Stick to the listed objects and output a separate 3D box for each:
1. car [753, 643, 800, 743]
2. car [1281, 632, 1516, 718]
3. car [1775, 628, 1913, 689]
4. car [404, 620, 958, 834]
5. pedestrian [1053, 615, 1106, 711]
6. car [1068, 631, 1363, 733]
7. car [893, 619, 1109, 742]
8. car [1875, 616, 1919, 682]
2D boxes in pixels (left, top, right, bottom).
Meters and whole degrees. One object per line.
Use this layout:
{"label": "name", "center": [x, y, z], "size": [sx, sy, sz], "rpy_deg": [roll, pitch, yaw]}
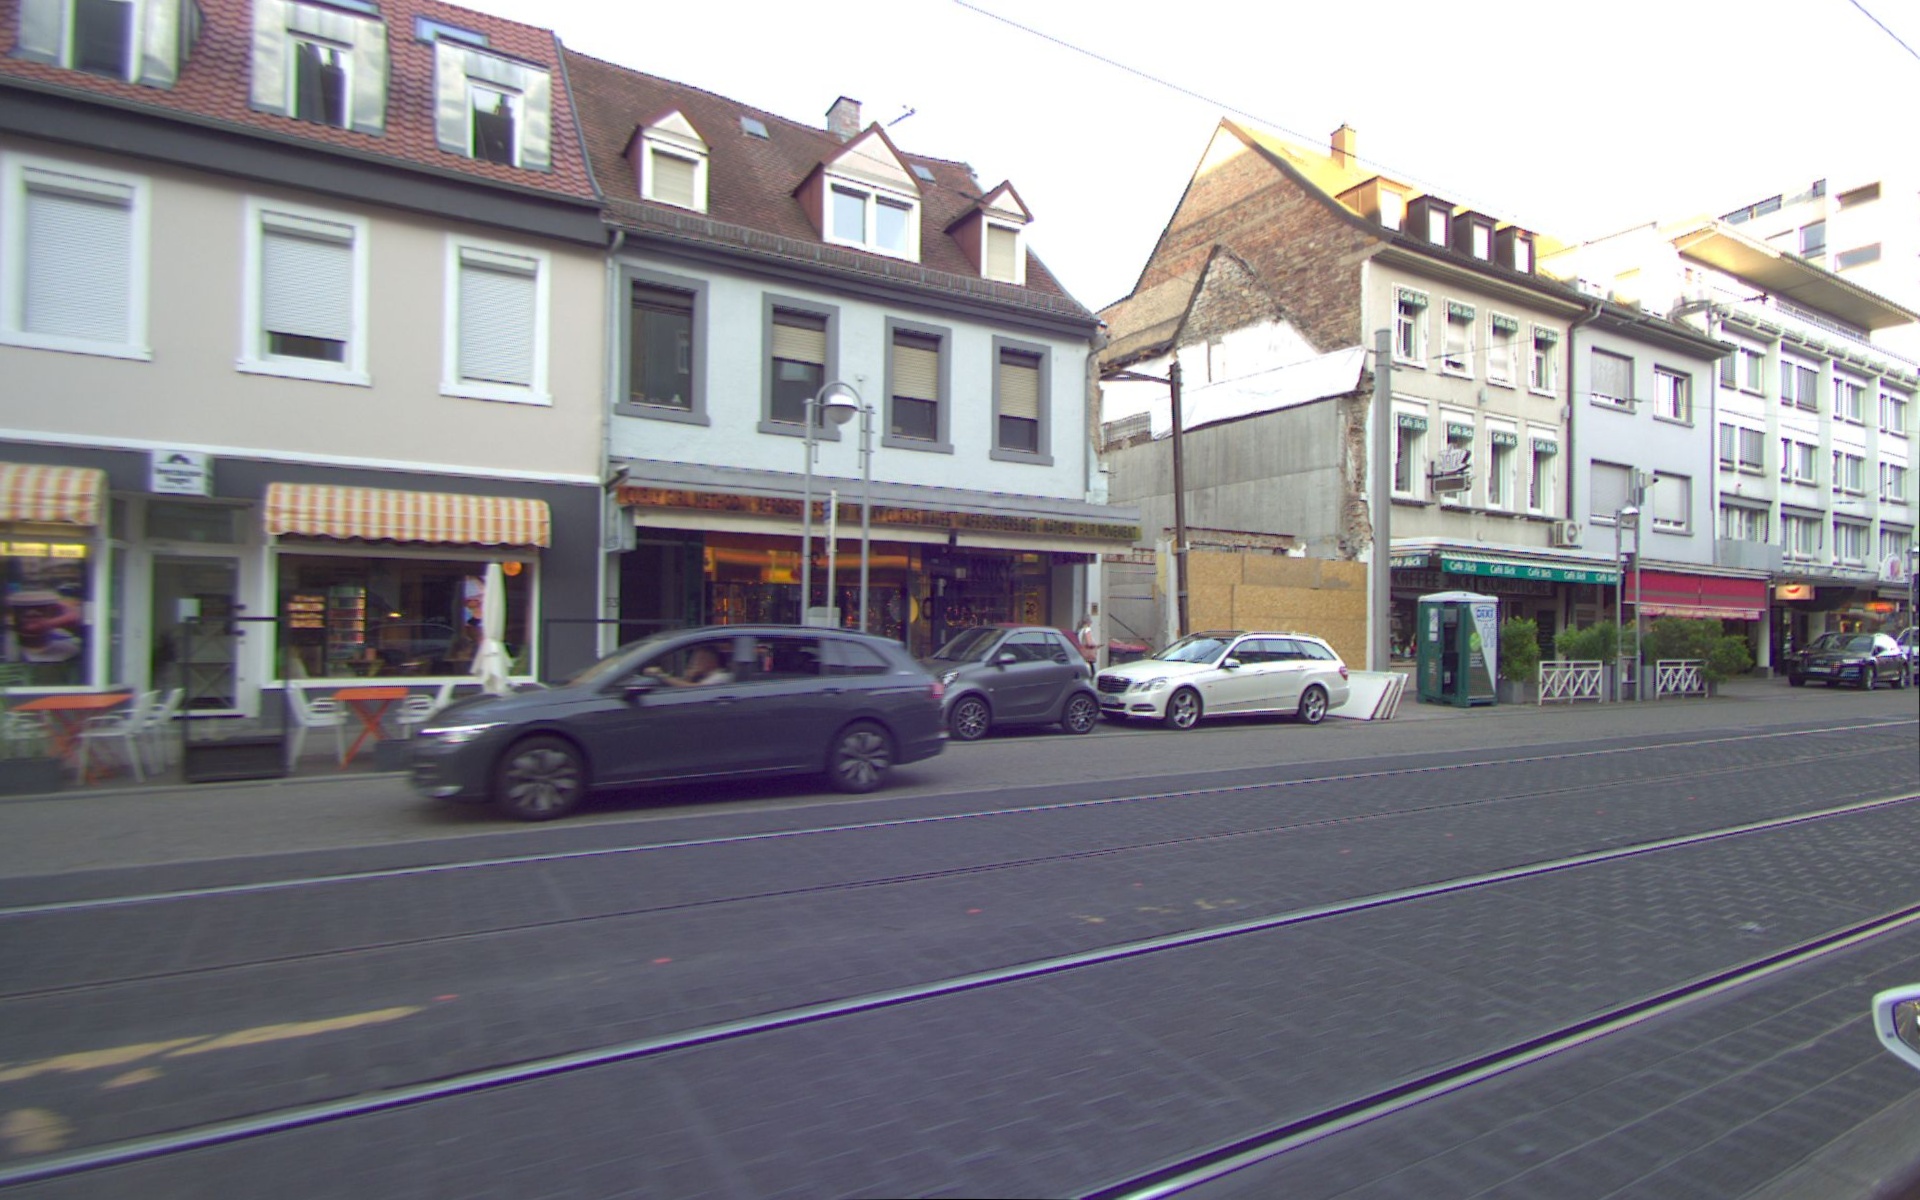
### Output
{"label": "car", "center": [-2.399, 1.193, 13.118], "size": [0.336, 1.251, 0.779], "rpy_deg": [1, -2, -32]}
{"label": "car", "center": [8.434, 1.368, 19.265], "size": [4.277, 1.472, 1.985], "rpy_deg": [1, -2, -29]}
{"label": "car", "center": [26.903, 1.734, 30.539], "size": [4.412, 1.700, 1.851], "rpy_deg": [1, 0, -30]}
{"label": "car", "center": [-2.333, 0.958, 8.816], "size": [4.413, 1.472, 1.684], "rpy_deg": [1, -3, -31]}
{"label": "pedestrian", "center": [2.149, 1.118, 18.073], "size": [0.686, 1.666, 0.659], "rpy_deg": [1, -1, -30]}
{"label": "car", "center": [4.319, 1.288, 16.813], "size": [4.764, 1.472, 1.985], "rpy_deg": [2, -2, -29]}
{"label": "car", "center": [0.598, 1.092, 14.398], "size": [2.764, 1.598, 1.469], "rpy_deg": [2, -2, -32]}
{"label": "car", "center": [33.441, 1.668, 34.396], "size": [4.858, 2.185, 1.982], "rpy_deg": [2, -2, -33]}
